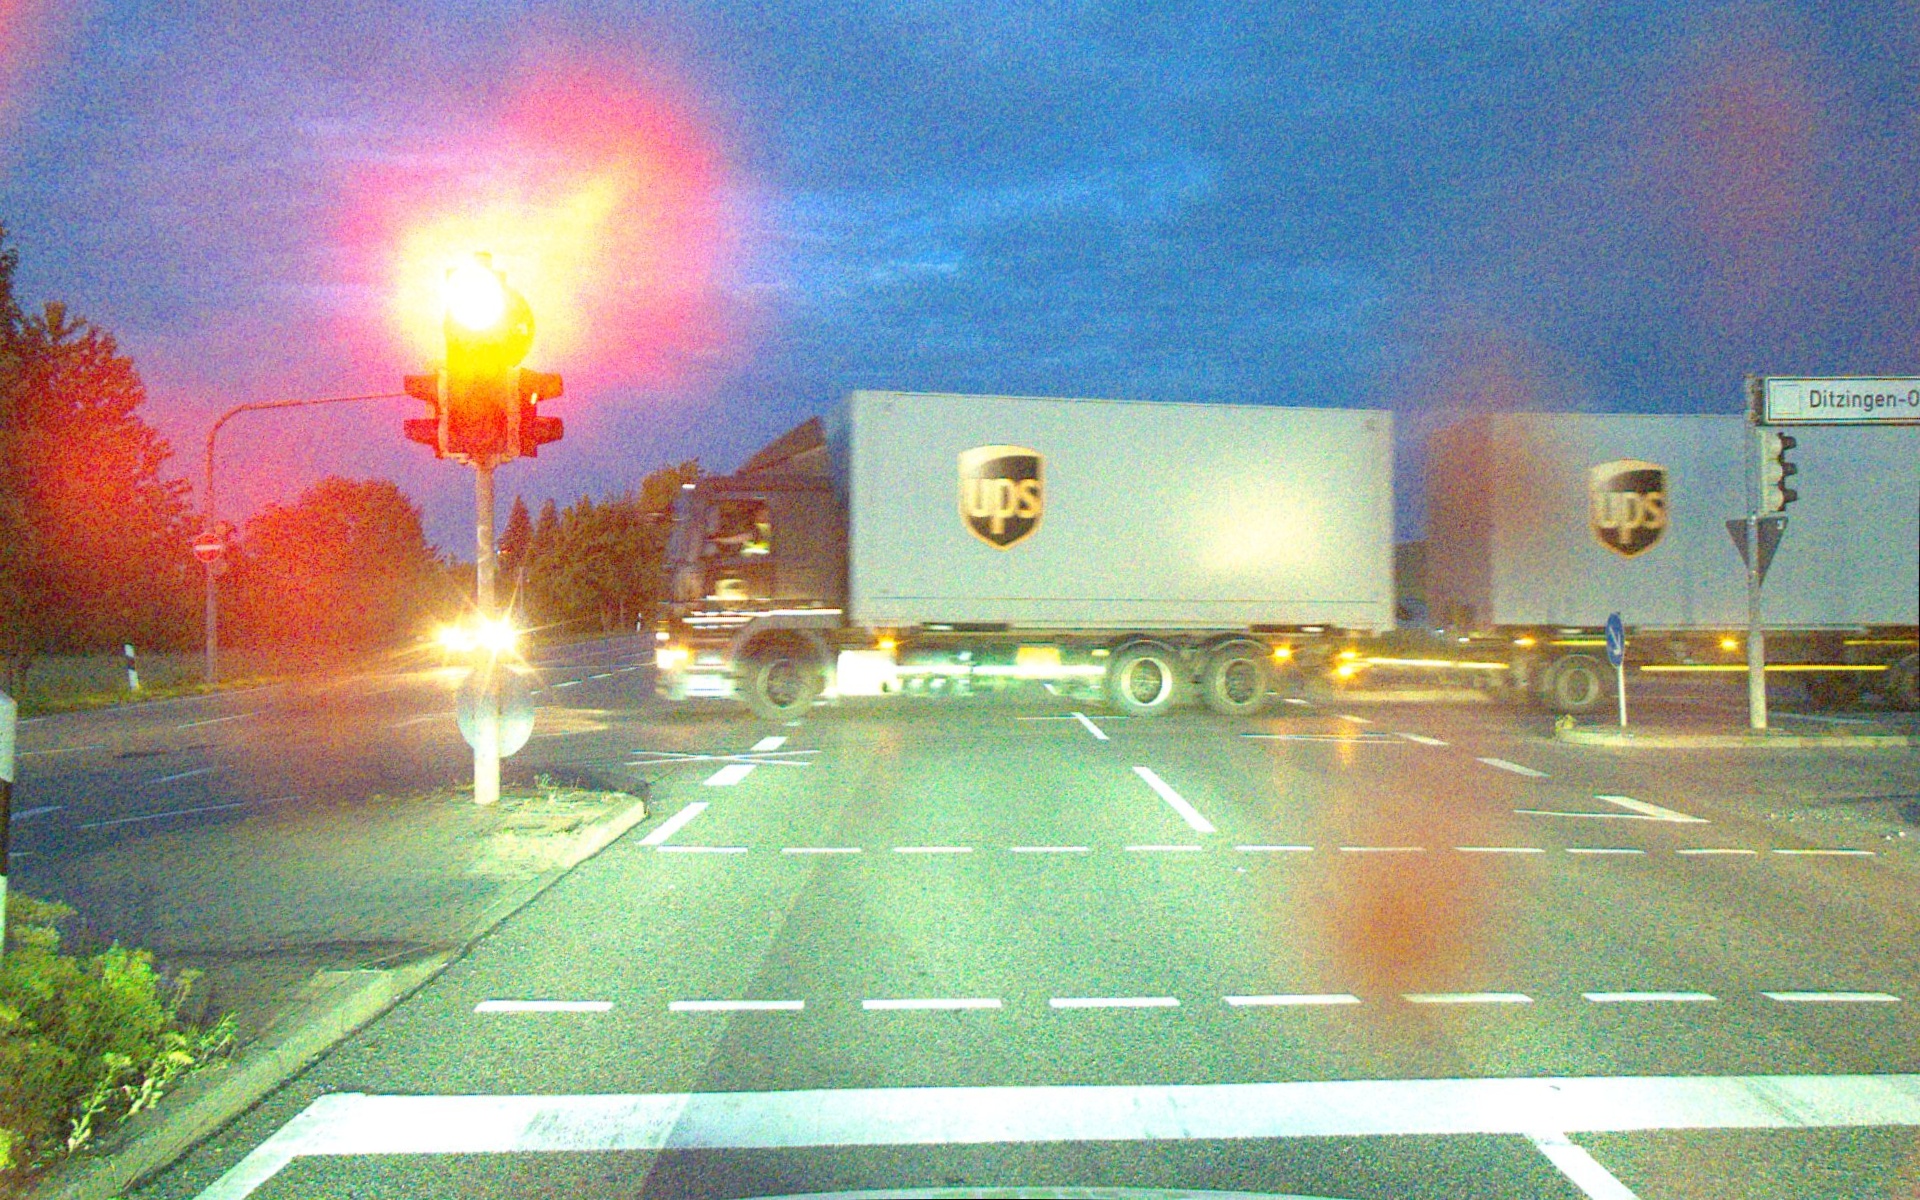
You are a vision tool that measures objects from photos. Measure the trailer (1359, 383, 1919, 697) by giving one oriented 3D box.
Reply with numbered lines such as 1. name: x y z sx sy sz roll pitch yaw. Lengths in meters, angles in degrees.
1. trailer: 10.350 -0.864 23.484 8.676 4.012 2.582 -2 0 -6

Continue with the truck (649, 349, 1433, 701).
1. truck: 1.034 -0.905 22.093 10.132 4.189 2.726 0 0 -13

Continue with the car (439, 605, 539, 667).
1. car: -12.646 0.934 44.561 1.596 1.400 3.589 -5 1 -1
